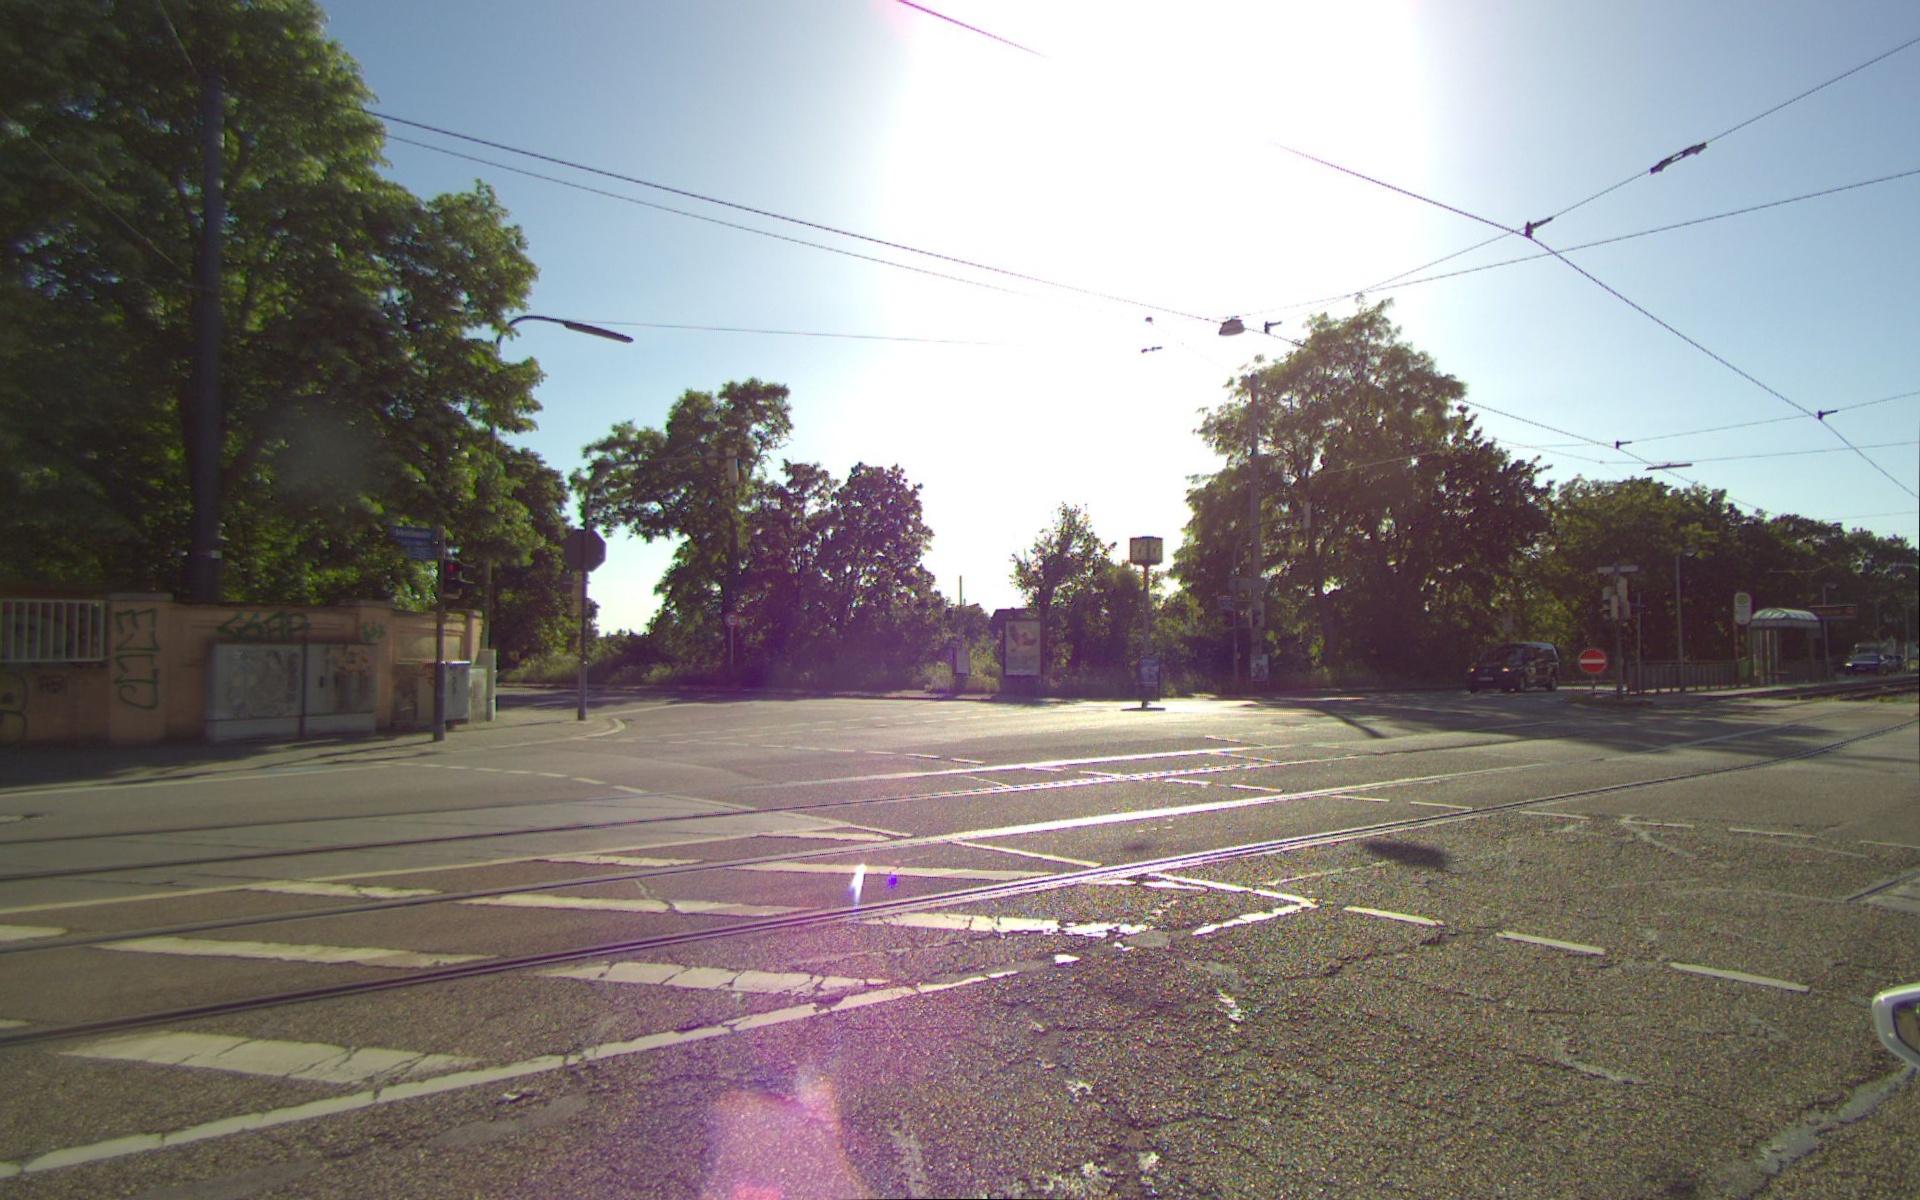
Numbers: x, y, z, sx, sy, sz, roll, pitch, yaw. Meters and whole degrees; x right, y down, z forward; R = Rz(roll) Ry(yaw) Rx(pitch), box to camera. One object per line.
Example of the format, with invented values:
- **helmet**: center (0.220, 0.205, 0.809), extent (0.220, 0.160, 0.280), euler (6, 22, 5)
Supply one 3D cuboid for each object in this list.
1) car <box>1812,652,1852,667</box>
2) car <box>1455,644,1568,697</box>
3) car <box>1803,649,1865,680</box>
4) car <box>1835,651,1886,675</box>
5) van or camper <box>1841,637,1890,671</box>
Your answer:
- **car**: center (76.462, 5.225, 88.086), extent (3.965, 1.282, 1.906), euler (2, -4, -39)
- **car**: center (19.989, 2.544, 36.309), extent (4.993, 1.789, 1.976), euler (4, -5, -41)
- **car**: center (43.487, 3.188, 49.946), extent (3.969, 1.485, 1.790), euler (3, -4, -41)
- **car**: center (61.076, 4.244, 68.082), extent (3.965, 1.587, 1.906), euler (2, -4, -39)
- **van or camper**: center (86.654, 5.126, 96.065), extent (6.734, 3.146, 2.568), euler (3, -4, -40)
